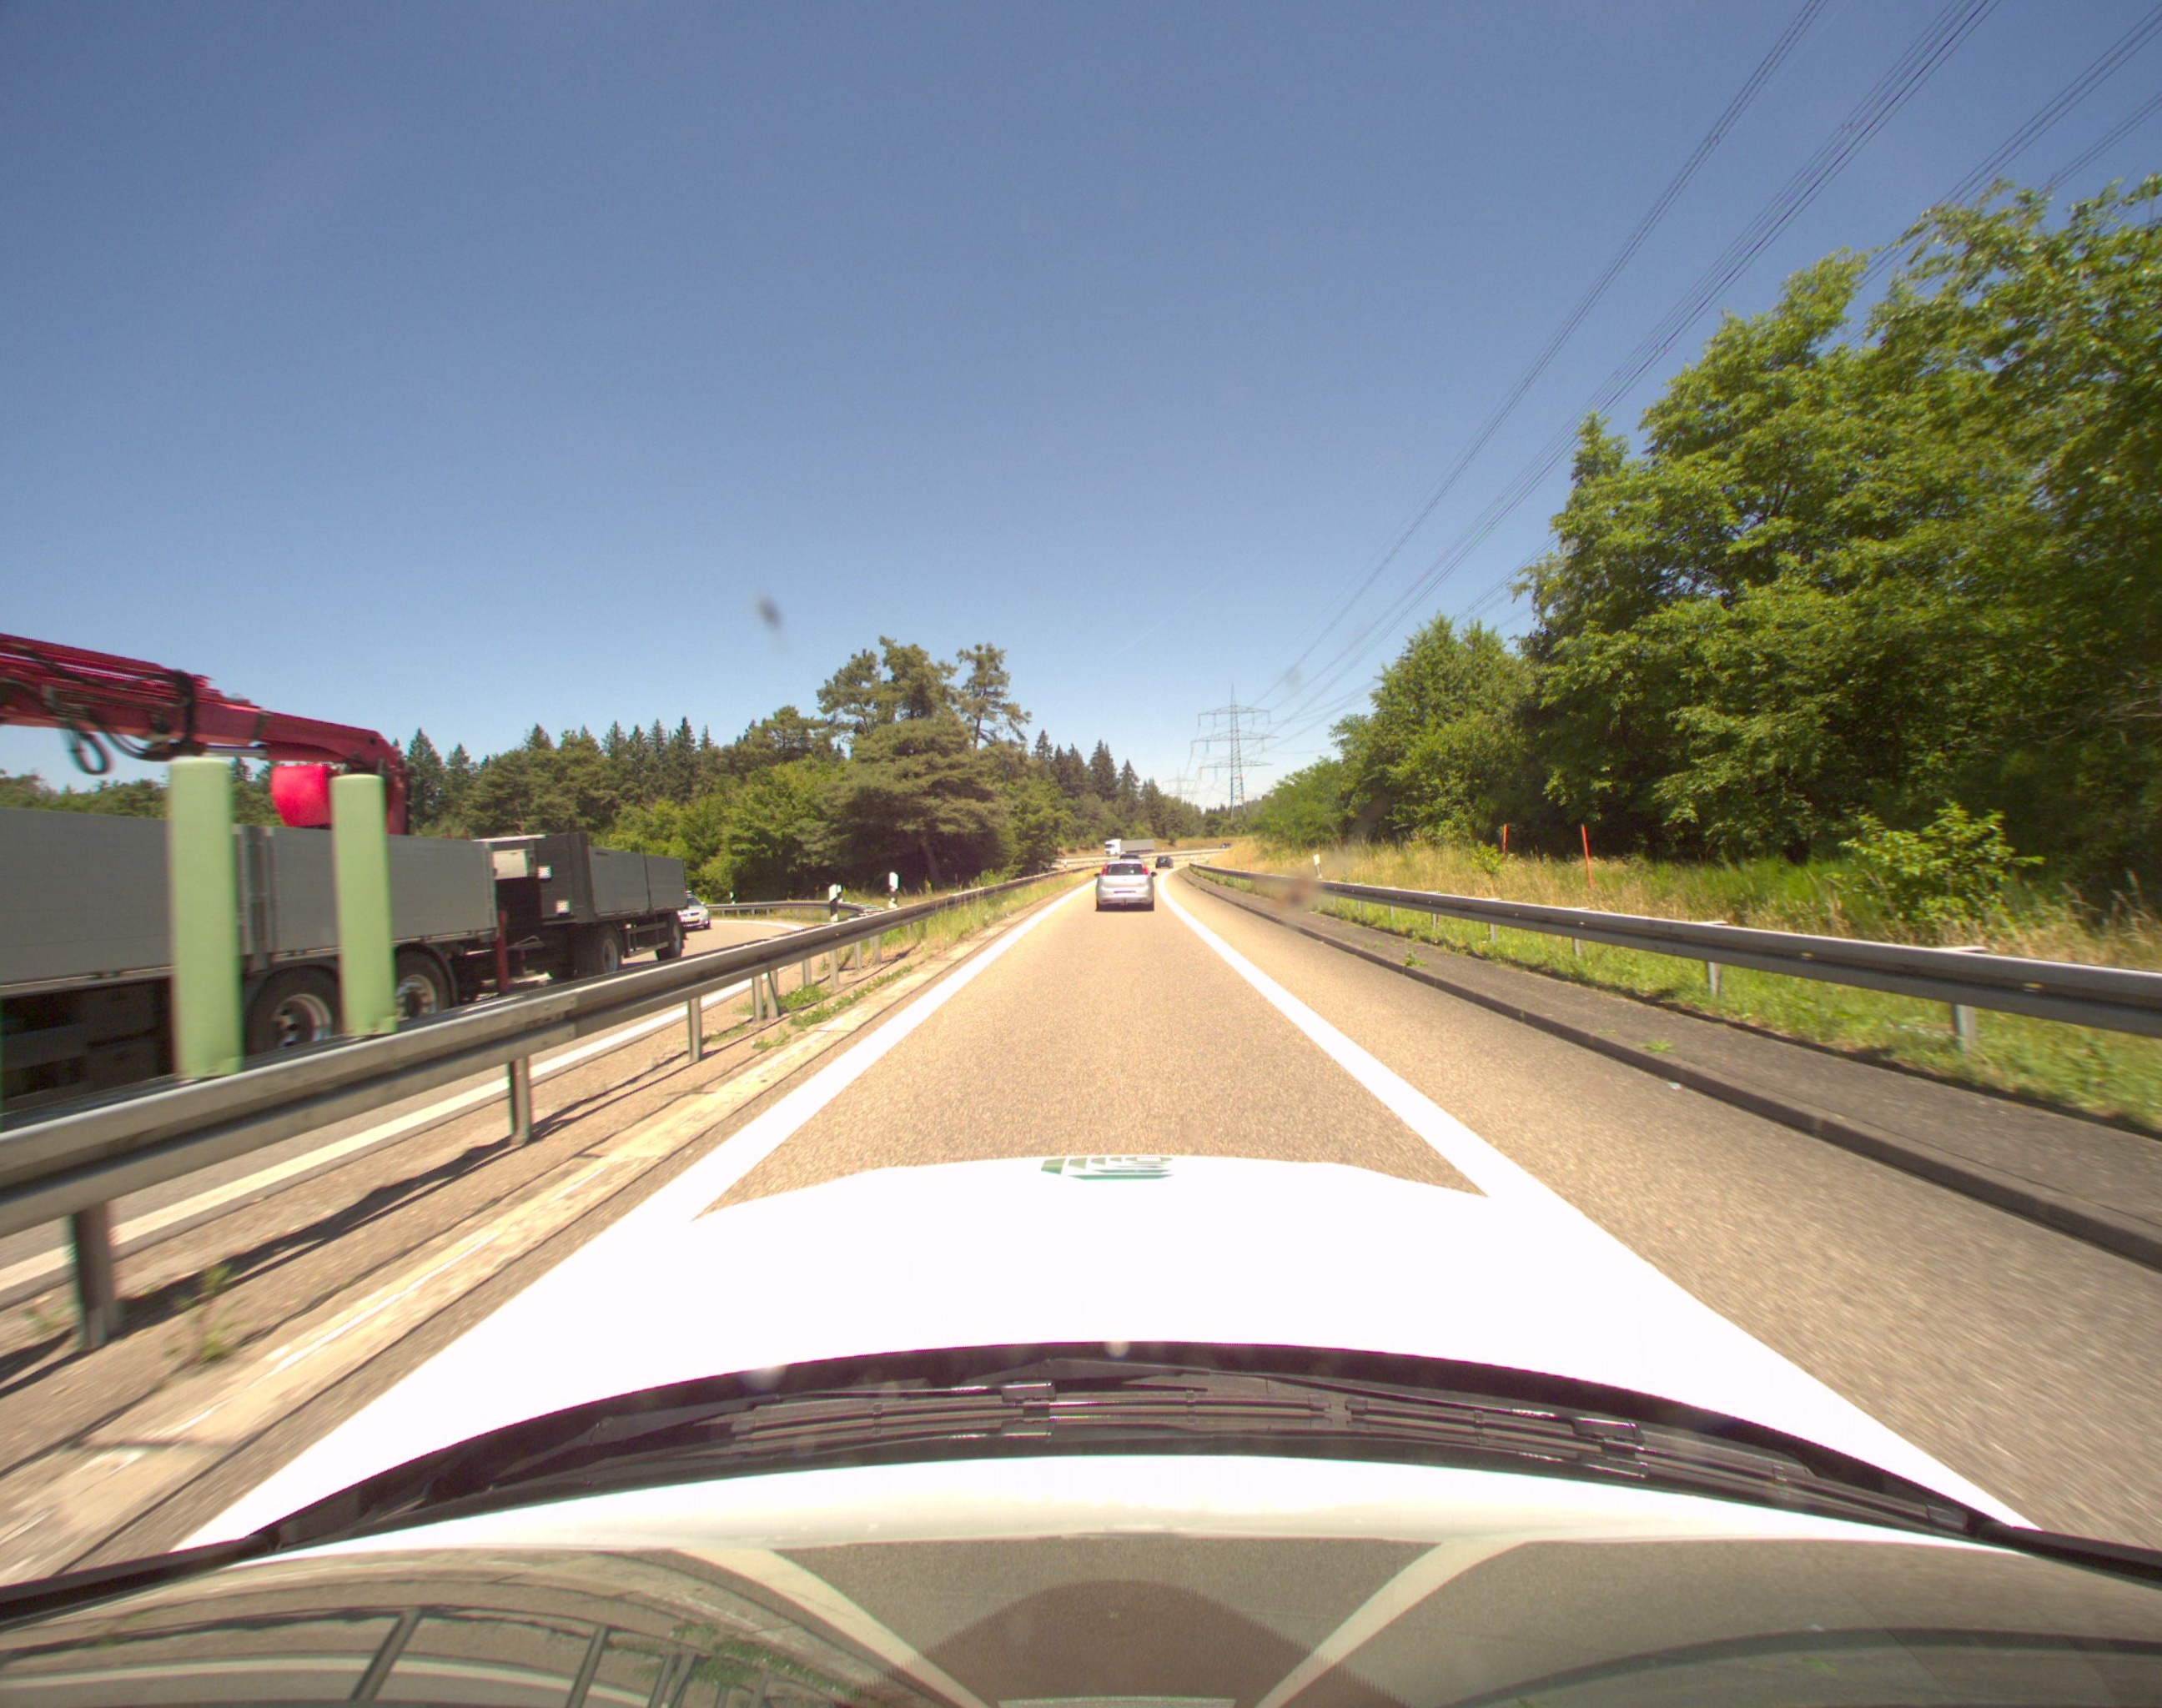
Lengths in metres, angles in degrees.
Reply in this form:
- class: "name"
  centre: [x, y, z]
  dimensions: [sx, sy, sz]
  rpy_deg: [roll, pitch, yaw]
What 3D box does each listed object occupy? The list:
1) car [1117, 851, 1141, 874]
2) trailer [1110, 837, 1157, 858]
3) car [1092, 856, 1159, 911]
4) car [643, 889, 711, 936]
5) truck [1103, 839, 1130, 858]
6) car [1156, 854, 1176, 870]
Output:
- class: "car"
  centre: [3.655, 0.653, 62.650]
  dimensions: [1.700, 1.676, 3.399]
  rpy_deg: [-1, 0, 2]
- class: "trailer"
  centre: [13.171, -1.695, 203.195]
  dimensions: [2.897, 4.387, 14.385]
  rpy_deg: [-4, 0, 43]
- class: "car"
  centre: [1.243, 0.846, 24.116]
  dimensions: [1.701, 1.482, 3.395]
  rpy_deg: [-1, -1, -1]
- class: "car"
  centre: [-16.852, 2.372, 33.814]
  dimensions: [2.007, 1.640, 5.218]
  rpy_deg: [-4, -1, -31]
- class: "truck"
  centre: [8.631, -1.392, 198.347]
  dimensions: [2.911, 4.392, 6.310]
  rpy_deg: [-4, 0, 43]
- class: "car"
  centre: [10.053, 0.955, 96.233]
  dimensions: [1.870, 1.684, 4.012]
  rpy_deg: [-4, 0, 11]
